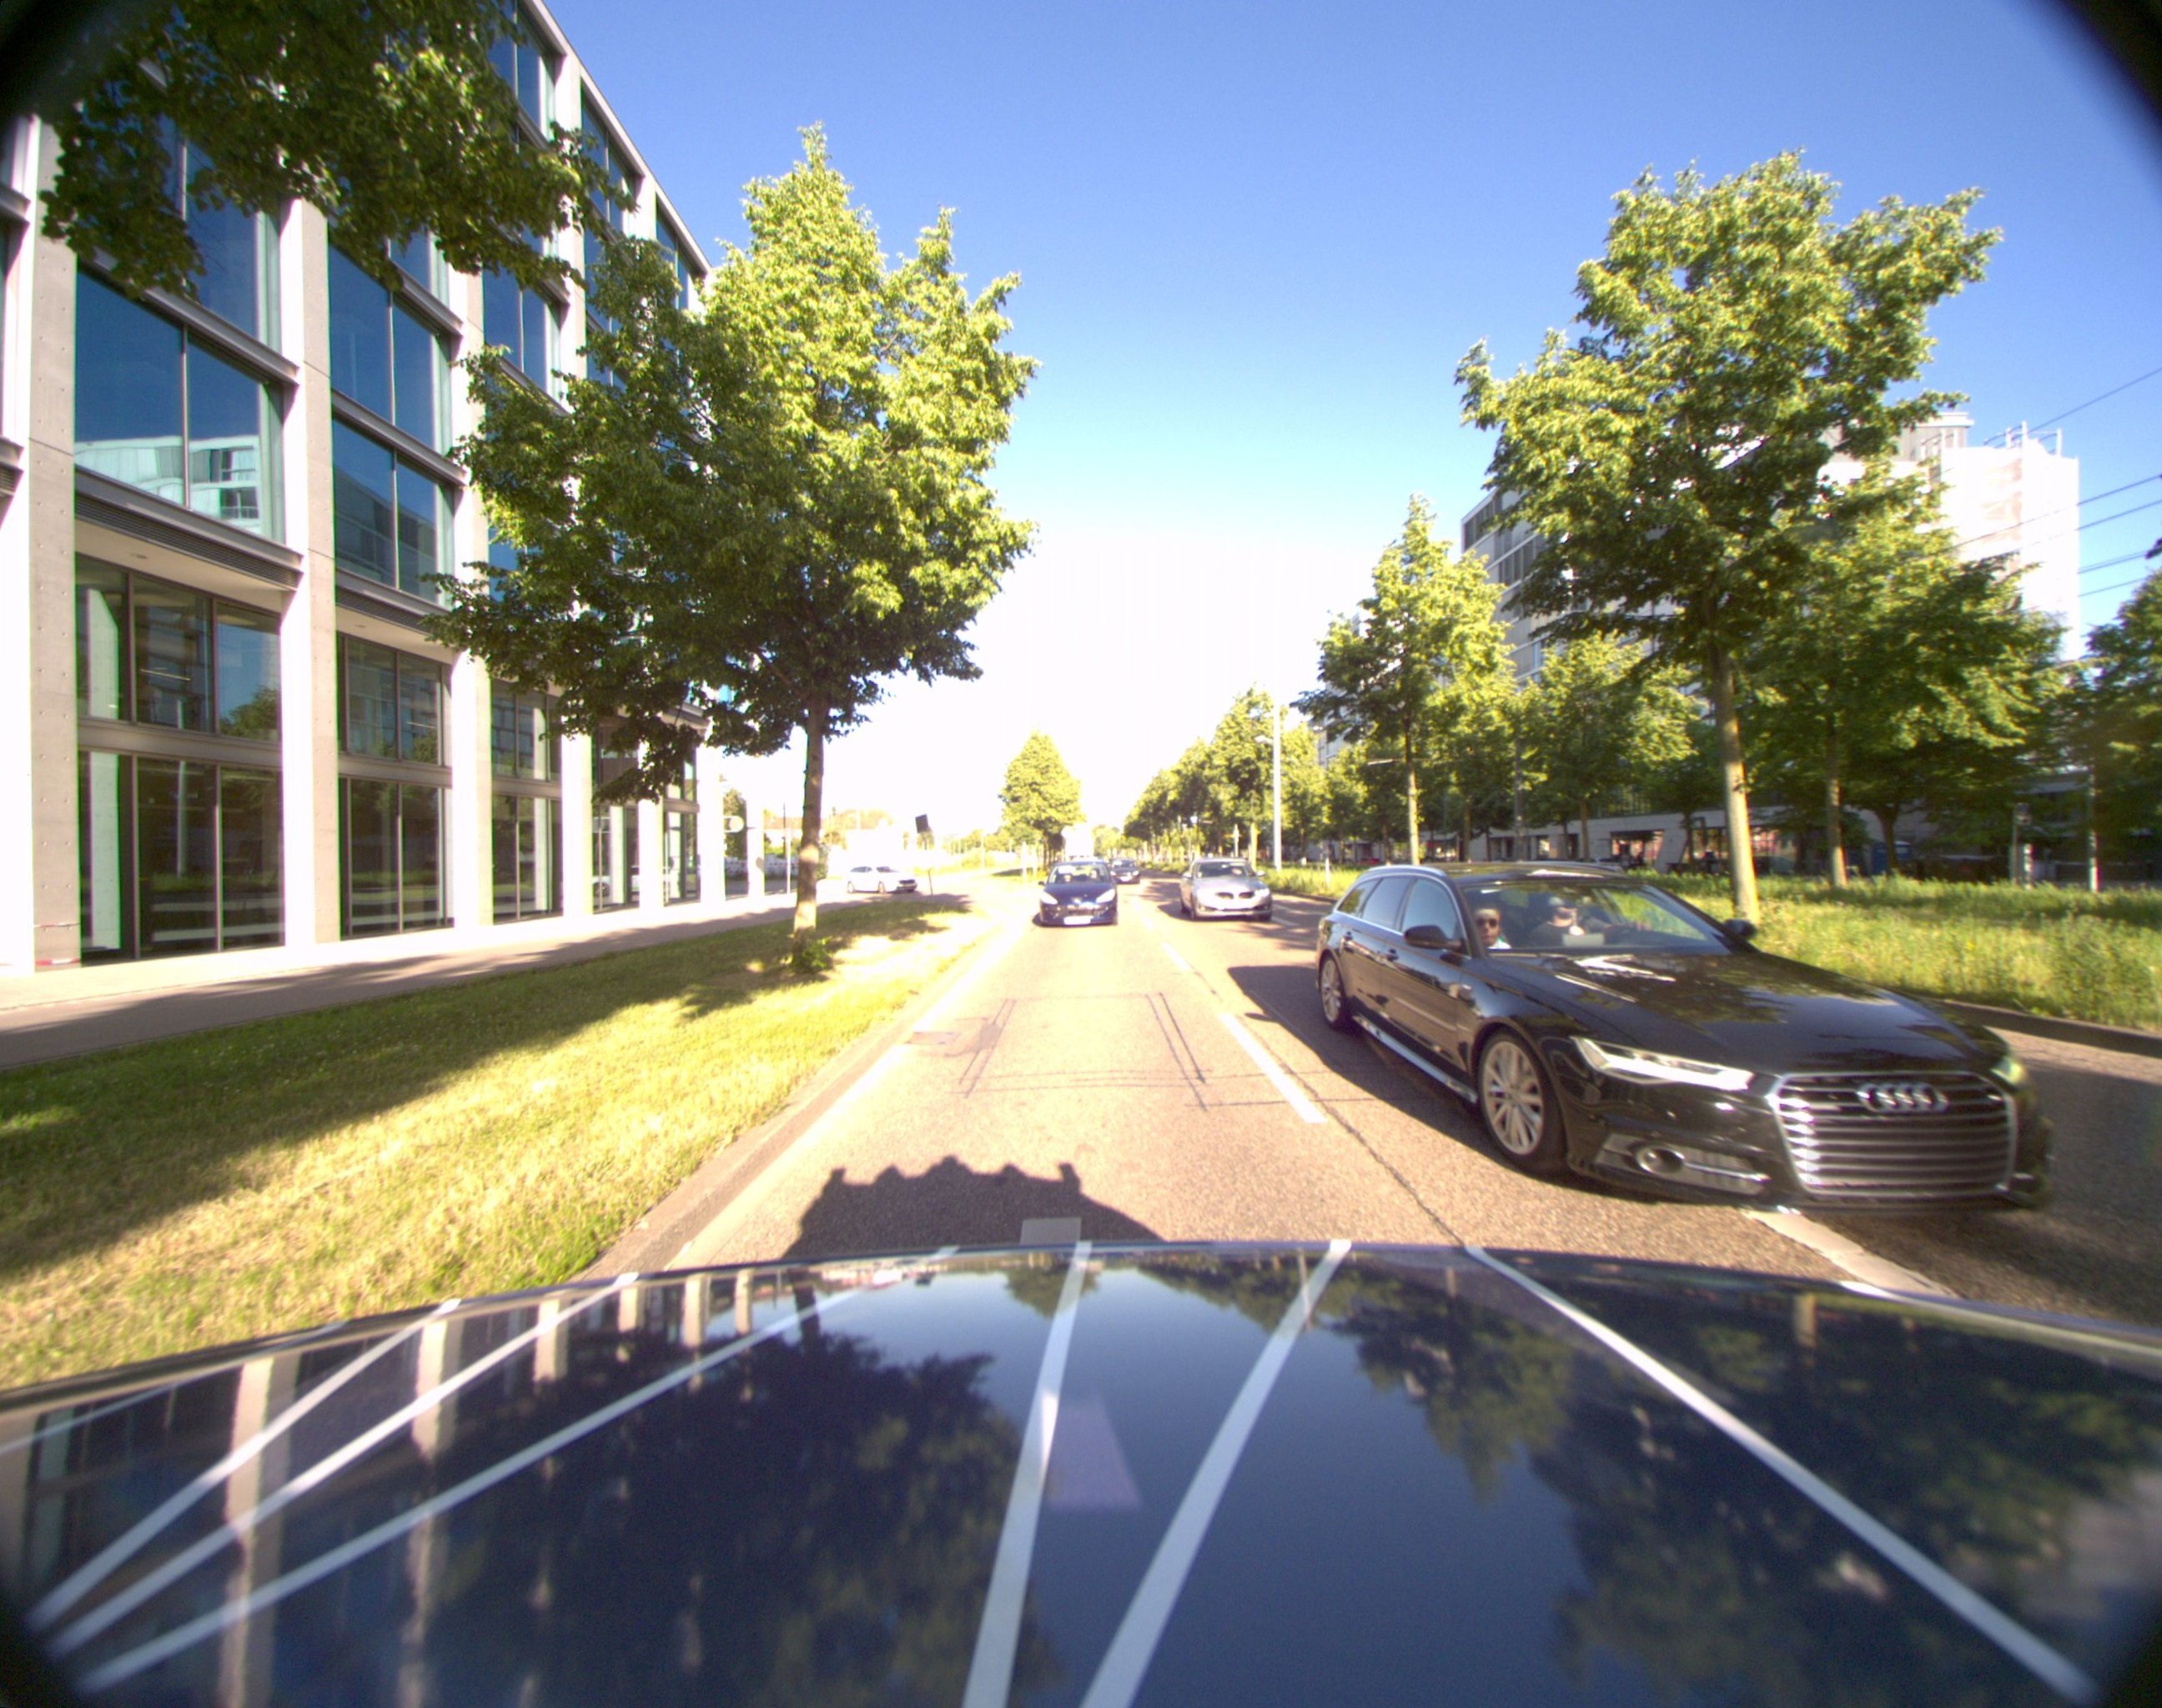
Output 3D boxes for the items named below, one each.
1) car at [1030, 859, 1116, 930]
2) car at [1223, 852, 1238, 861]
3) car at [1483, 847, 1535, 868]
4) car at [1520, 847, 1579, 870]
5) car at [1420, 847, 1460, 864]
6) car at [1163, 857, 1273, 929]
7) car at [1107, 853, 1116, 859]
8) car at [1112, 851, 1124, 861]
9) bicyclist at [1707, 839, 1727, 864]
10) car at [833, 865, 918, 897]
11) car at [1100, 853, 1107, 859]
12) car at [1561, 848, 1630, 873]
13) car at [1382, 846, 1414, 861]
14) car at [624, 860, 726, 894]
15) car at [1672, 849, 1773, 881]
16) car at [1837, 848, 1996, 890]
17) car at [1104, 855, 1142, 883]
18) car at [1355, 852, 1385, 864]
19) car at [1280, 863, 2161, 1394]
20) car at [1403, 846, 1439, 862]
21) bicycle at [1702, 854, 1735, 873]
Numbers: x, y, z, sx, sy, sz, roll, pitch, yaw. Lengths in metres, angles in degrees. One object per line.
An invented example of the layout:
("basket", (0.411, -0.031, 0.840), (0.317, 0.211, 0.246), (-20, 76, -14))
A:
("car", (-0.154, 0.906, 18.904), (1.846, 1.473, 4.481), (-1, 0, 1))
("car", (27.159, 0.463, 138.324), (1.895, 1.671, 4.000), (-1, 0, 1))
("car", (35.022, 0.248, 62.282), (1.884, 1.588, 4.183), (-1, 0, 1))
("car", (35.062, 0.318, 57.000), (1.884, 1.588, 4.183), (-1, 0, 1))
("car", (34.881, 0.097, 73.962), (1.884, 1.588, 4.183), (-1, 0, 1))
("car", (3.198, 0.843, 18.637), (1.824, 1.476, 4.560), (-1, 0, 0))
("car", (6.958, 0.432, 173.156), (1.878, 1.415, 4.344), (-1, 0, 2))
("car", (6.277, 0.344, 128.041), (1.861, 1.482, 4.000), (-1, 0, 1))
("bicyclist", (37.446, -0.145, 44.732), (0.478, 1.416, 0.820), (-1, 1, 1))
("car", (-10.203, 1.280, 37.614), (4.555, 1.439, 1.809), (-1, 1, 42))
("car", (5.876, 0.472, 198.968), (1.724, 1.516, 4.000), (-1, 0, 1))
("car", (34.785, 0.409, 51.472), (1.884, 1.588, 4.183), (-1, 0, 1))
("car", (35.337, -0.076, 84.791), (1.884, 1.588, 4.183), (-1, 0, 1))
("car", (-20.145, 1.106, 37.841), (3.996, 1.569, 2.000), (-1, 1, 3))
("car", (34.529, 0.563, 41.049), (1.951, 1.588, 4.183), (-1, 0, 1))
("car", (33.996, 0.562, 31.121), (1.951, 1.588, 4.183), (-1, 0, 1))
("car", (2.367, 0.825, 43.909), (1.998, 1.437, 4.622), (-1, 0, 1))
("car", (35.627, 0.476, 93.762), (1.999, 1.387, 3.999), (-1, 0, -2))
("car", (2.871, 0.861, 4.779), (1.879, 1.476, 4.966), (-1, 0, 0))
("car", (35.287, 0.007, 78.870), (1.884, 1.588, 4.183), (-1, 0, 1))
("bicycle", (37.461, 0.554, 44.687), (0.478, 1.029, 1.756), (-1, 1, 1))
